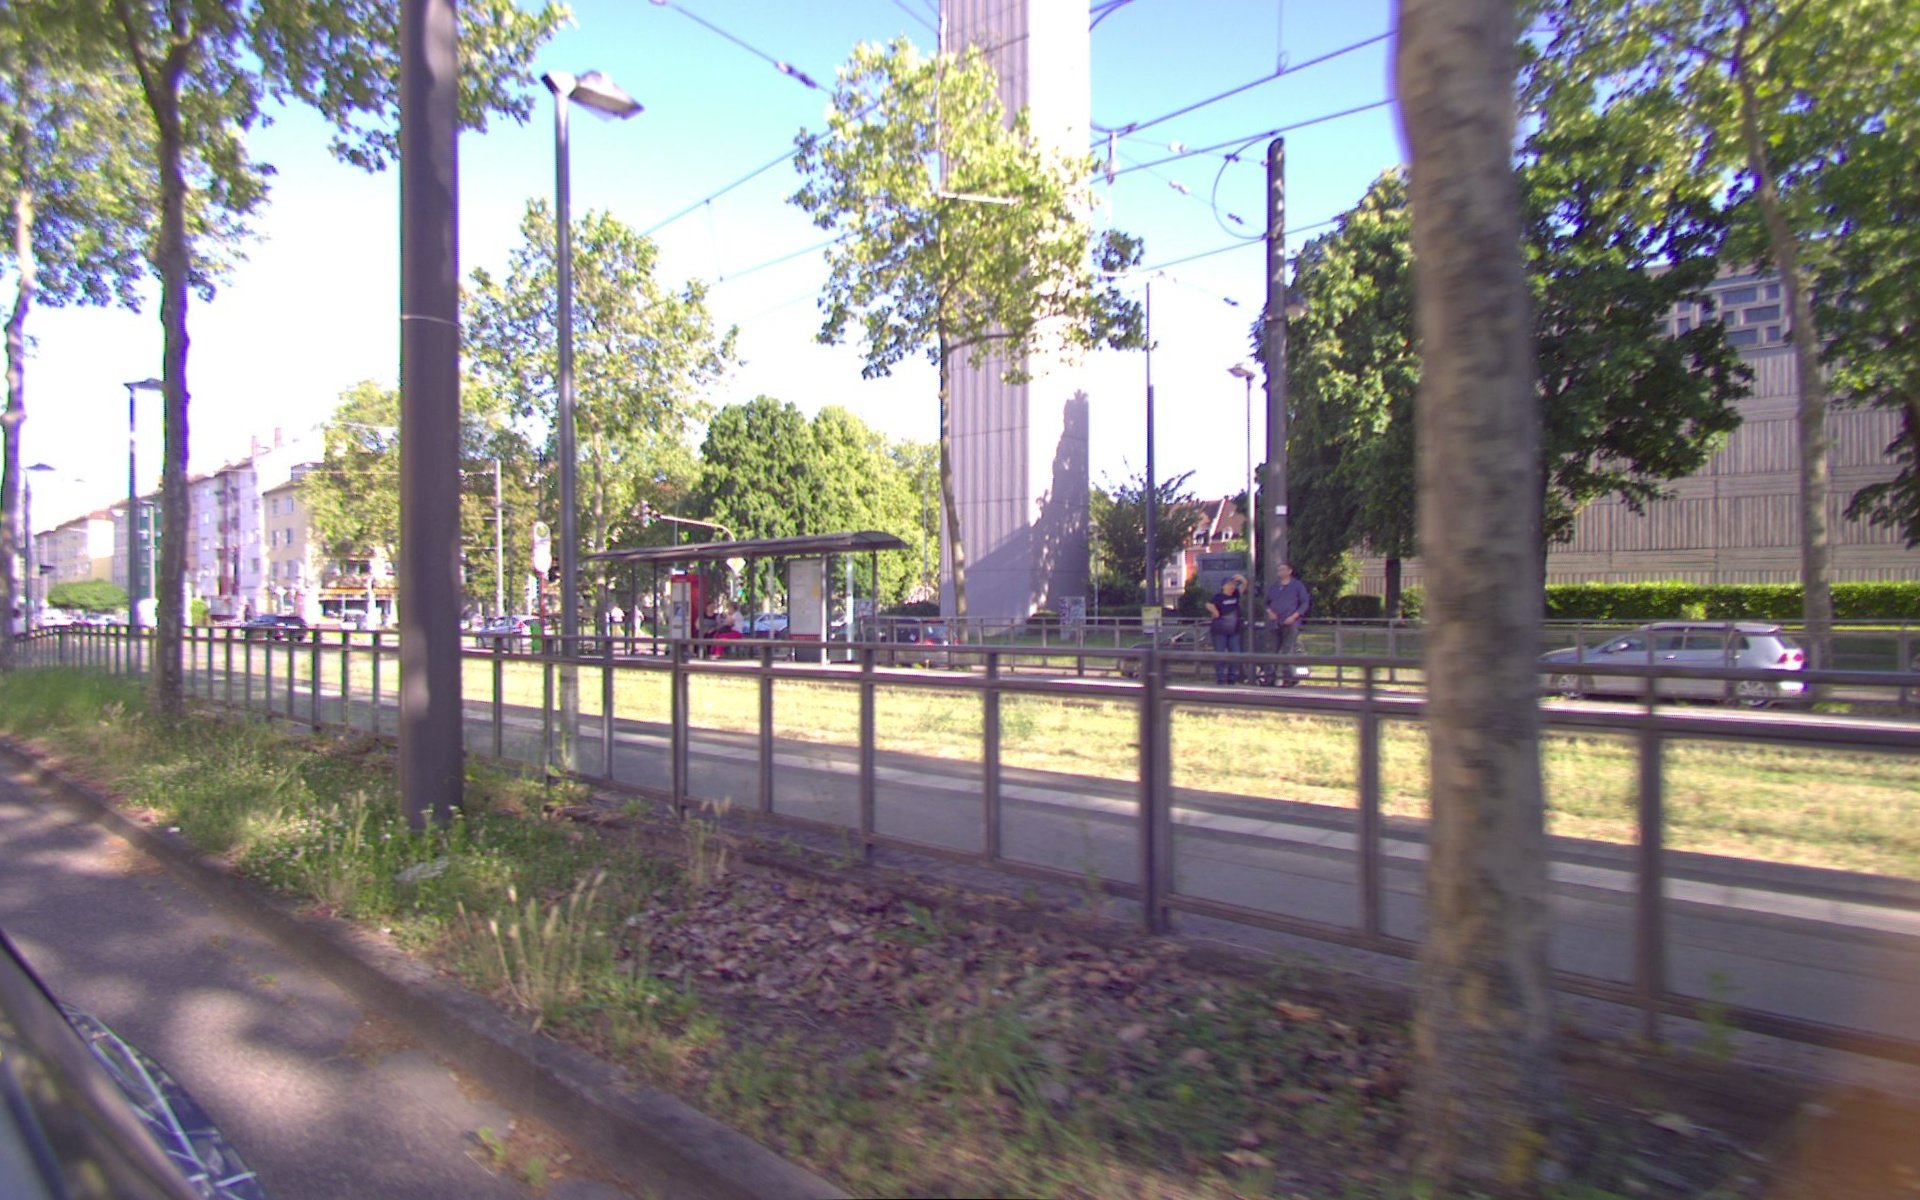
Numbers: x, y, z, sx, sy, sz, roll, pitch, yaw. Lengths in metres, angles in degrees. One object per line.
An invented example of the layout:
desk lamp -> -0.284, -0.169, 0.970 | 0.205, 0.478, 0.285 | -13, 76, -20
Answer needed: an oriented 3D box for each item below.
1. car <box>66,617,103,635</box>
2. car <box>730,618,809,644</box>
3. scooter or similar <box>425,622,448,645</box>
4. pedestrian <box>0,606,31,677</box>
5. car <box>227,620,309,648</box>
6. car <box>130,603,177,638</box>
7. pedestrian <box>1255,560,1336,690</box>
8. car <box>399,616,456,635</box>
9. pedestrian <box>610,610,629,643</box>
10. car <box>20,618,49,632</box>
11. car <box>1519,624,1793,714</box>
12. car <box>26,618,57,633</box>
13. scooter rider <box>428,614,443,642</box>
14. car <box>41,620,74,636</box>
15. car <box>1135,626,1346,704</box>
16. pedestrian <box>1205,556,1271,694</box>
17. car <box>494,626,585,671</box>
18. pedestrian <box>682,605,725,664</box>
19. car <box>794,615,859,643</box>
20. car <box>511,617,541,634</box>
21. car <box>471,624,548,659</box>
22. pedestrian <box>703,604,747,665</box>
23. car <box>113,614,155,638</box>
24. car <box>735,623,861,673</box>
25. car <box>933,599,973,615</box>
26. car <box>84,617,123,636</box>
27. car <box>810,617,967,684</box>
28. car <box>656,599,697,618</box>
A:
car -> -90.122, 2.633, 104.134 | 5.443, 1.720, 2.117 | -1, -1, 41
car -> -11.615, 1.846, 61.928 | 1.999, 1.497, 4.468 | -1, -1, 40
scooter or similar -> -31.598, 2.016, 61.106 | 1.537, 1.319, 0.591 | -1, -1, 36
pedestrian -> -20.900, 0.900, 22.214 | 0.537, 1.540, 0.653 | -1, -1, 33
car -> -37.353, 1.816, 54.600 | 4.512, 1.453, 1.936 | -1, -1, 31
car -> -68.142, 1.722, 85.472 | 5.226, 2.846, 2.202 | -1, -1, 41
pedestrian -> 4.618, 0.333, 13.930 | 0.754, 1.702, 0.874 | -1, -1, 41
car -> -42.353, 2.031, 80.564 | 3.931, 1.448, 1.723 | 1, -1, -27
pedestrian -> -17.640, 1.350, 52.419 | 0.746, 1.694, 0.589 | -1, -1, 35
car -> -116.686, 3.162, 127.629 | 5.399, 1.720, 2.117 | -1, -1, 41
car -> 12.551, 1.167, 18.396 | 3.929, 1.455, 1.577 | -1, -1, 42
car -> -111.639, 3.085, 122.971 | 5.399, 1.720, 2.117 | -1, -1, 41
scooter rider -> -31.684, 1.680, 61.162 | 0.572, 1.708, 0.589 | -1, -1, 35
car -> -101.968, 3.135, 114.310 | 5.443, 1.720, 2.117 | -1, -1, 41
car -> 5.752, 1.285, 21.035 | 3.929, 1.455, 1.577 | -1, -1, 42
pedestrian -> 3.936, 0.344, 14.337 | 0.636, 1.881, 0.712 | -1, -1, 41
car -> -12.342, 1.399, 29.635 | 2.964, 1.213, 1.311 | -1, -1, 41
pedestrian -> -5.943, 0.787, 23.431 | 0.722, 1.352, 0.775 | 0, -1, -35
car -> -8.557, 1.866, 65.108 | 1.786, 1.728, 3.946 | -1, -1, 40
car -> -34.973, 2.014, 81.466 | 1.616, 1.318, 4.012 | 1, -1, -32
car -> -18.409, 1.656, 41.296 | 3.409, 1.335, 1.313 | -1, -1, 35
pedestrian -> -5.307, 0.776, 22.864 | 0.734, 1.352, 0.686 | -1, -1, 42
car -> -73.731, 2.279, 90.305 | 5.155, 2.049, 2.117 | -1, -1, 41
car -> -4.899, 1.389, 30.307 | 3.999, 1.364, 1.534 | -1, -1, 42
car -> -0.688, 0.725, 99.430 | 1.968, 1.564, 3.942 | 0, -1, -38
car -> -82.313, 2.506, 97.199 | 5.155, 1.720, 2.117 | -1, -1, 41
car -> -1.706, 1.128, 23.527 | 3.533, 1.438, 1.589 | -1, -1, 39
car -> -24.167, 0.703, 86.208 | 1.968, 1.564, 3.942 | 0, -1, -38
